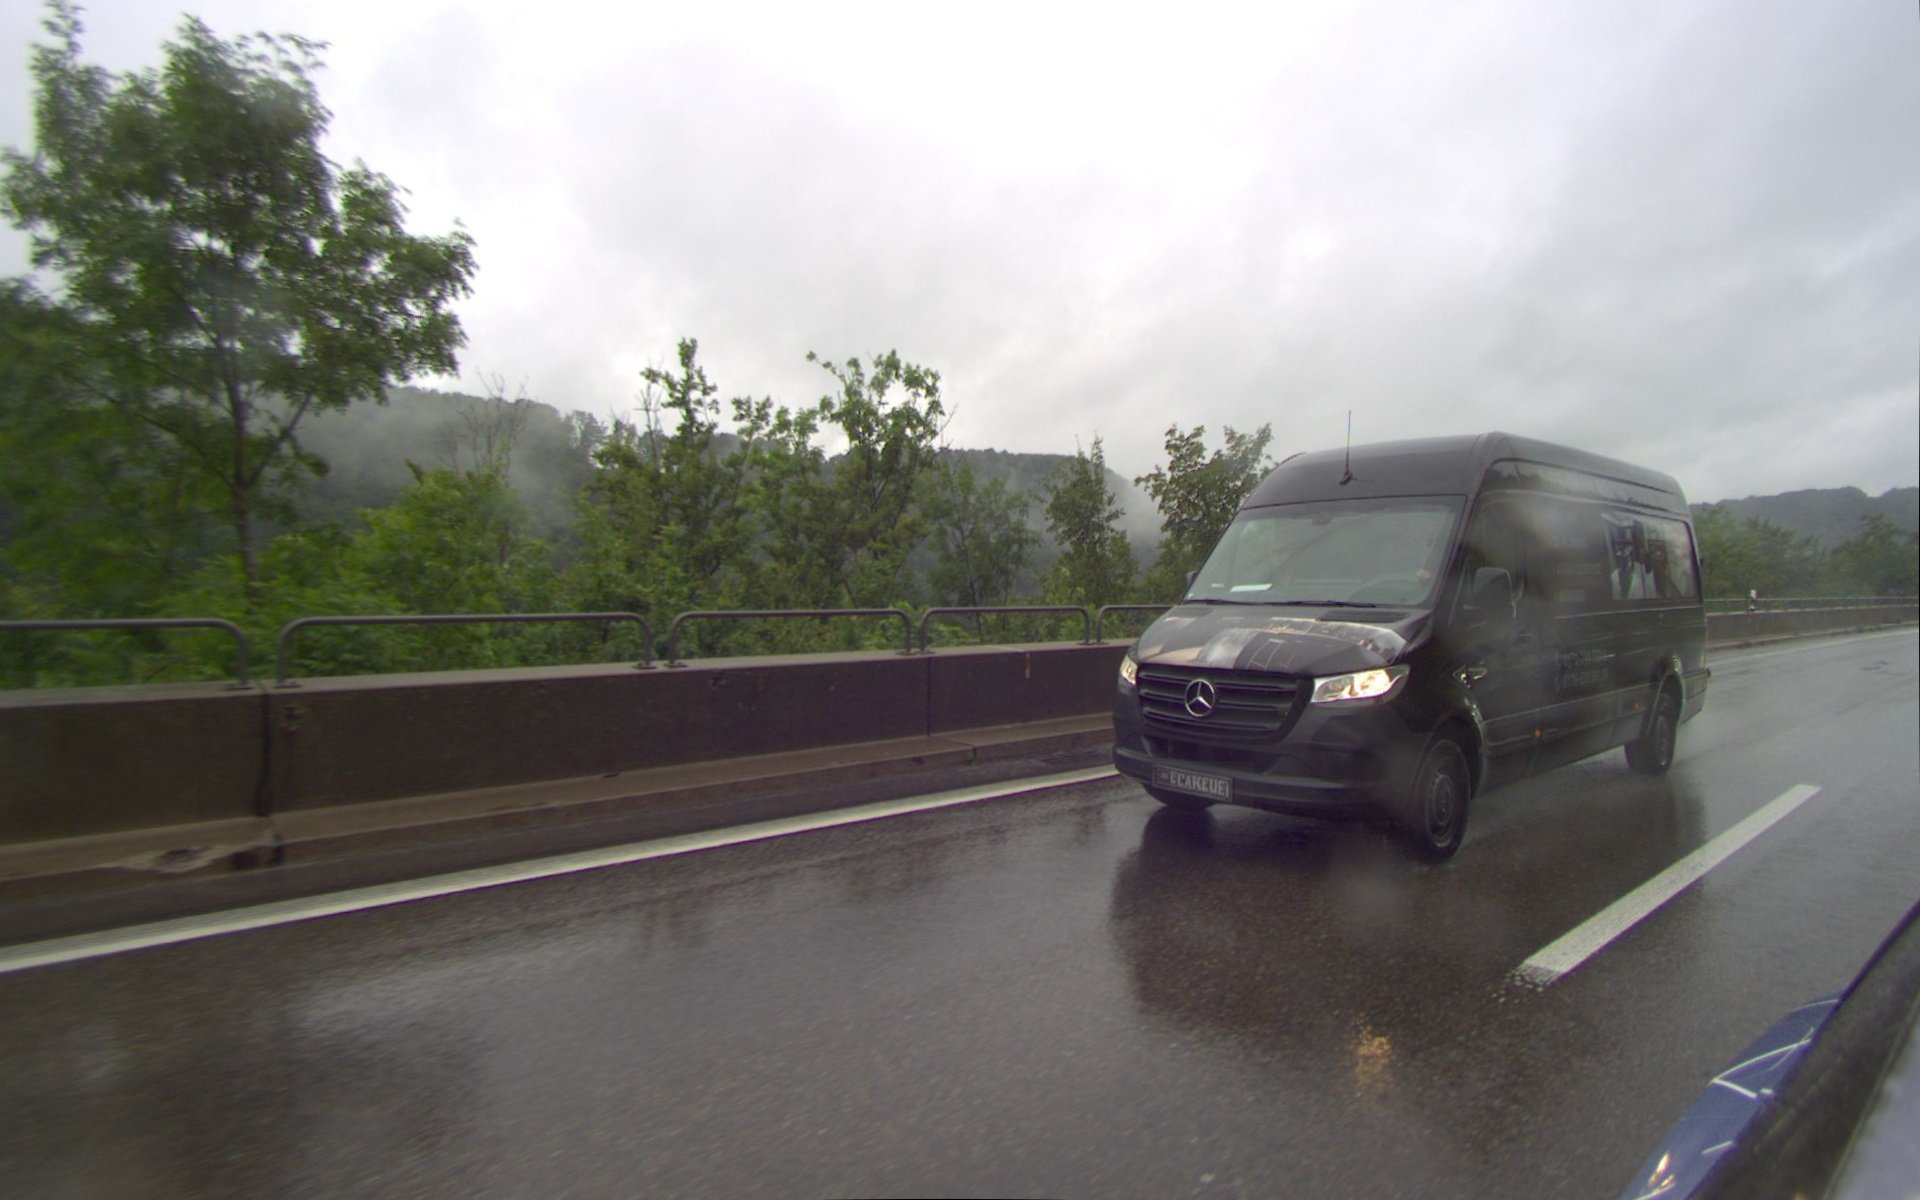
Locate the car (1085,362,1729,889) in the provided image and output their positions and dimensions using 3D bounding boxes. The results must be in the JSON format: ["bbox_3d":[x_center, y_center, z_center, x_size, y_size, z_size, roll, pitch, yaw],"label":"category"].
[{"bbox_3d":[3.898,0.089,7.794,6.589,2.525,1.996,-1,0,-42],"label":"car"}]
